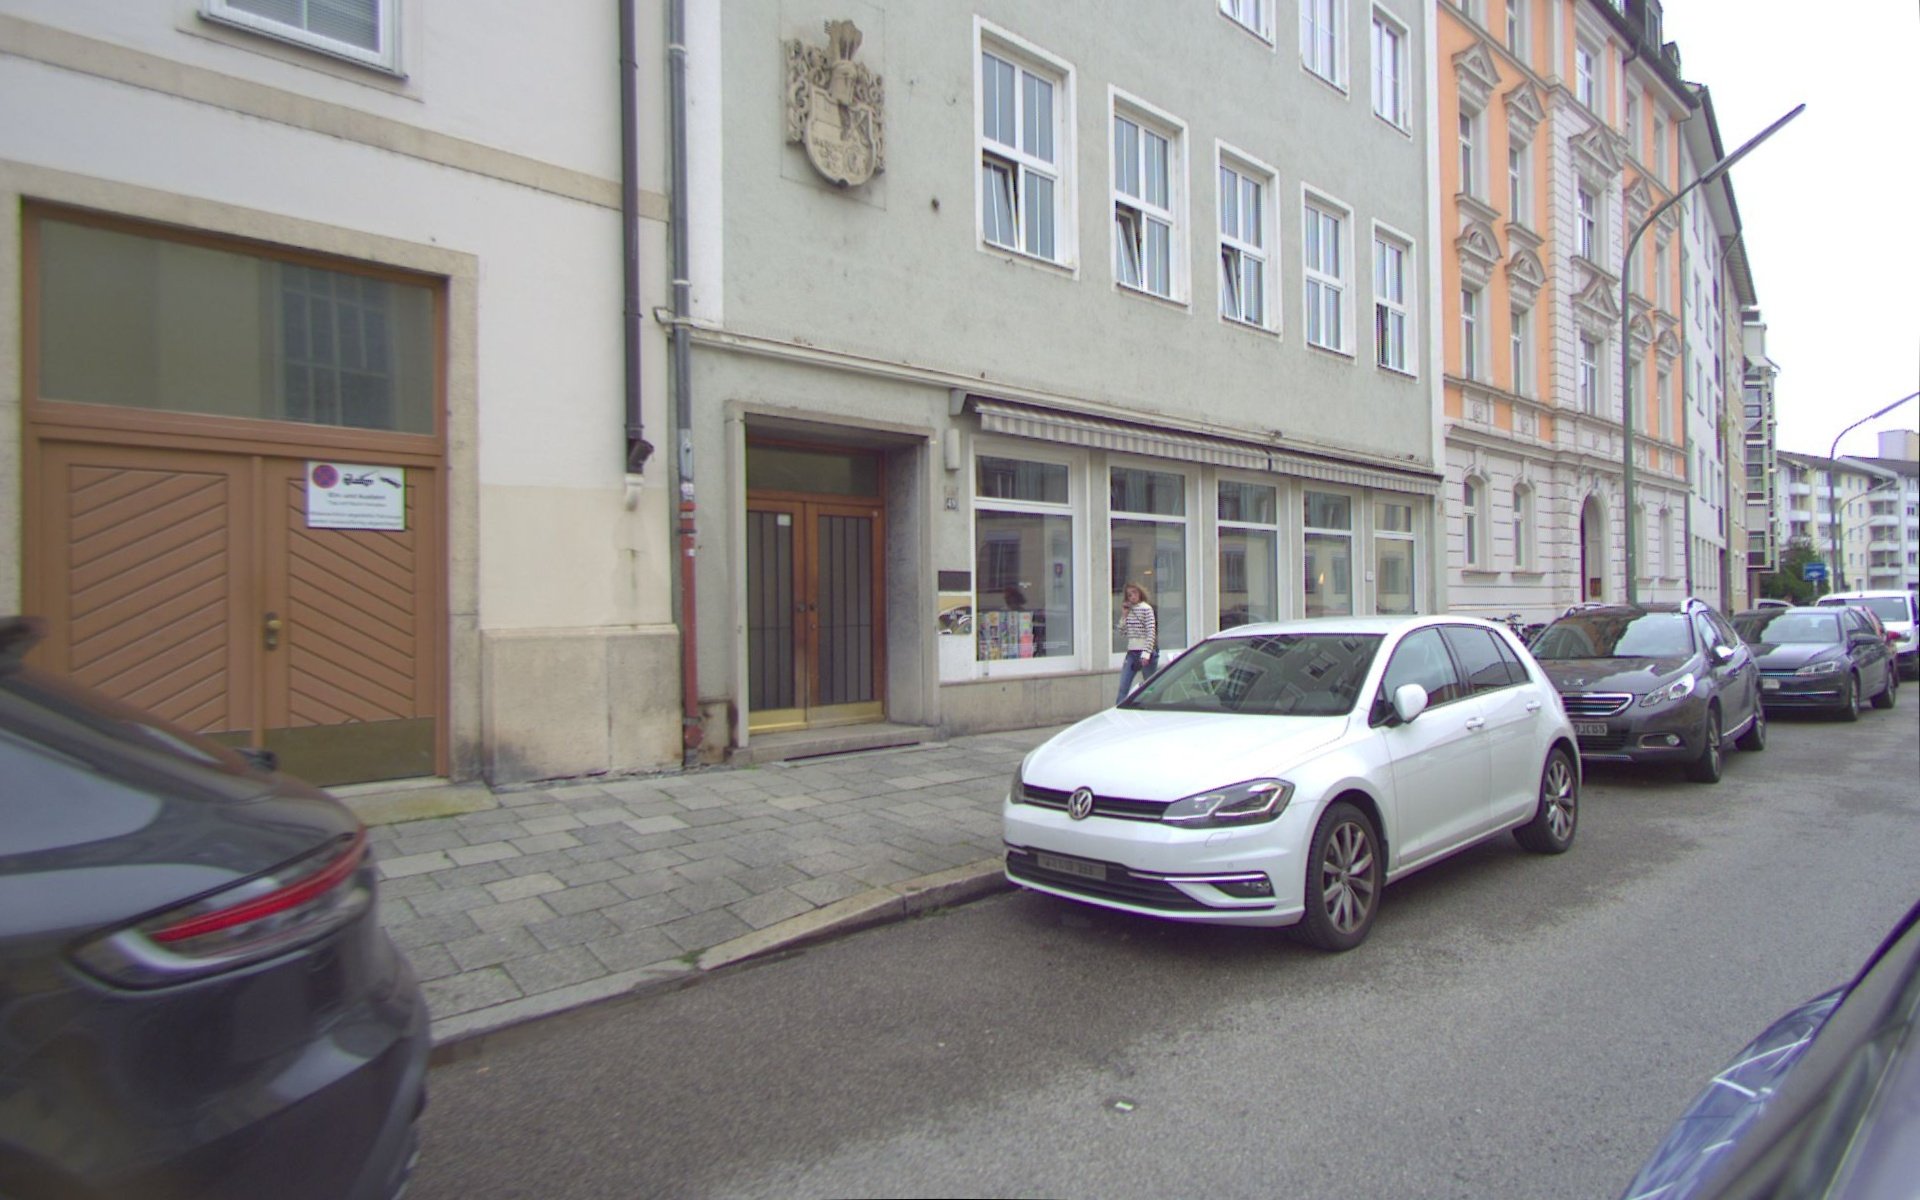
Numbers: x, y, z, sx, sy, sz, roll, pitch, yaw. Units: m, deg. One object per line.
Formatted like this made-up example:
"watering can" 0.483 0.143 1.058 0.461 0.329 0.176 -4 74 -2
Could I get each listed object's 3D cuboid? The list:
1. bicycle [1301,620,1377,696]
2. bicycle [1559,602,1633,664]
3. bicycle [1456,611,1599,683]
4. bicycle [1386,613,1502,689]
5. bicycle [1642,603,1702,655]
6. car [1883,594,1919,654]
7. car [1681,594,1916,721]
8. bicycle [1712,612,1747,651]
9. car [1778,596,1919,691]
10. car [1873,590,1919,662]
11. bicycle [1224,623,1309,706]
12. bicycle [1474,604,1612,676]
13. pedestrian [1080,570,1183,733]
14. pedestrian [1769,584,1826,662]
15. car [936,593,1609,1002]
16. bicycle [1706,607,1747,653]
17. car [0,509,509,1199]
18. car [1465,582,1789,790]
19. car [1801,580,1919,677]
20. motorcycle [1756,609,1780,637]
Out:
"bicycle" 5.453 0.811 14.520 1.495 1.017 0.331 0 0 -41
"bicycle" 13.062 0.675 20.766 2.057 1.198 0.652 2 -1 -39
"bicycle" 9.735 0.803 17.406 2.057 1.198 0.608 0 -1 4
"bicycle" 7.745 0.773 16.139 2.415 1.088 0.770 0 -1 -41
"bicycle" 17.297 0.704 24.564 2.057 1.198 0.652 2 -1 -39
"car" 27.194 0.629 28.197 4.129 1.608 1.742 0 -3 -43
"car" 11.562 0.716 13.871 4.010 1.470 1.695 -1 -3 -40
"bicycle" 23.219 0.943 30.519 0.666 1.136 1.627 -3 -2 42
"car" 15.756 0.711 17.807 4.231 1.470 1.599 0 -3 -45
"car" 23.473 0.582 24.520 3.570 1.663 1.605 -1 -3 -43
"bicycle" 4.070 0.828 13.390 1.495 1.017 0.331 0 0 -41
"bicycle" 10.375 0.701 18.055 2.057 1.198 0.609 2 -1 3
"pedestrian" 1.826 0.514 10.779 0.813 1.646 0.735 0 0 -41
"pedestrian" 18.471 0.494 22.321 0.636 1.683 0.862 0 -1 -41
"car" 1.970 0.761 5.703 4.011 1.483 1.694 -1 -3 -41
"bicycle" 19.886 0.765 26.242 0.666 1.136 1.926 -3 -1 42
"car" -2.965 0.726 1.058 4.252 1.605 1.781 0 -3 -40
"car" 6.598 0.700 9.838 4.015 1.604 1.693 0 -3 -44
"car" 19.323 0.564 21.162 4.810 1.809 1.843 0 -3 -41
"motorcycle" 34.792 0.980 43.555 0.628 1.140 1.770 -2 -1 44
